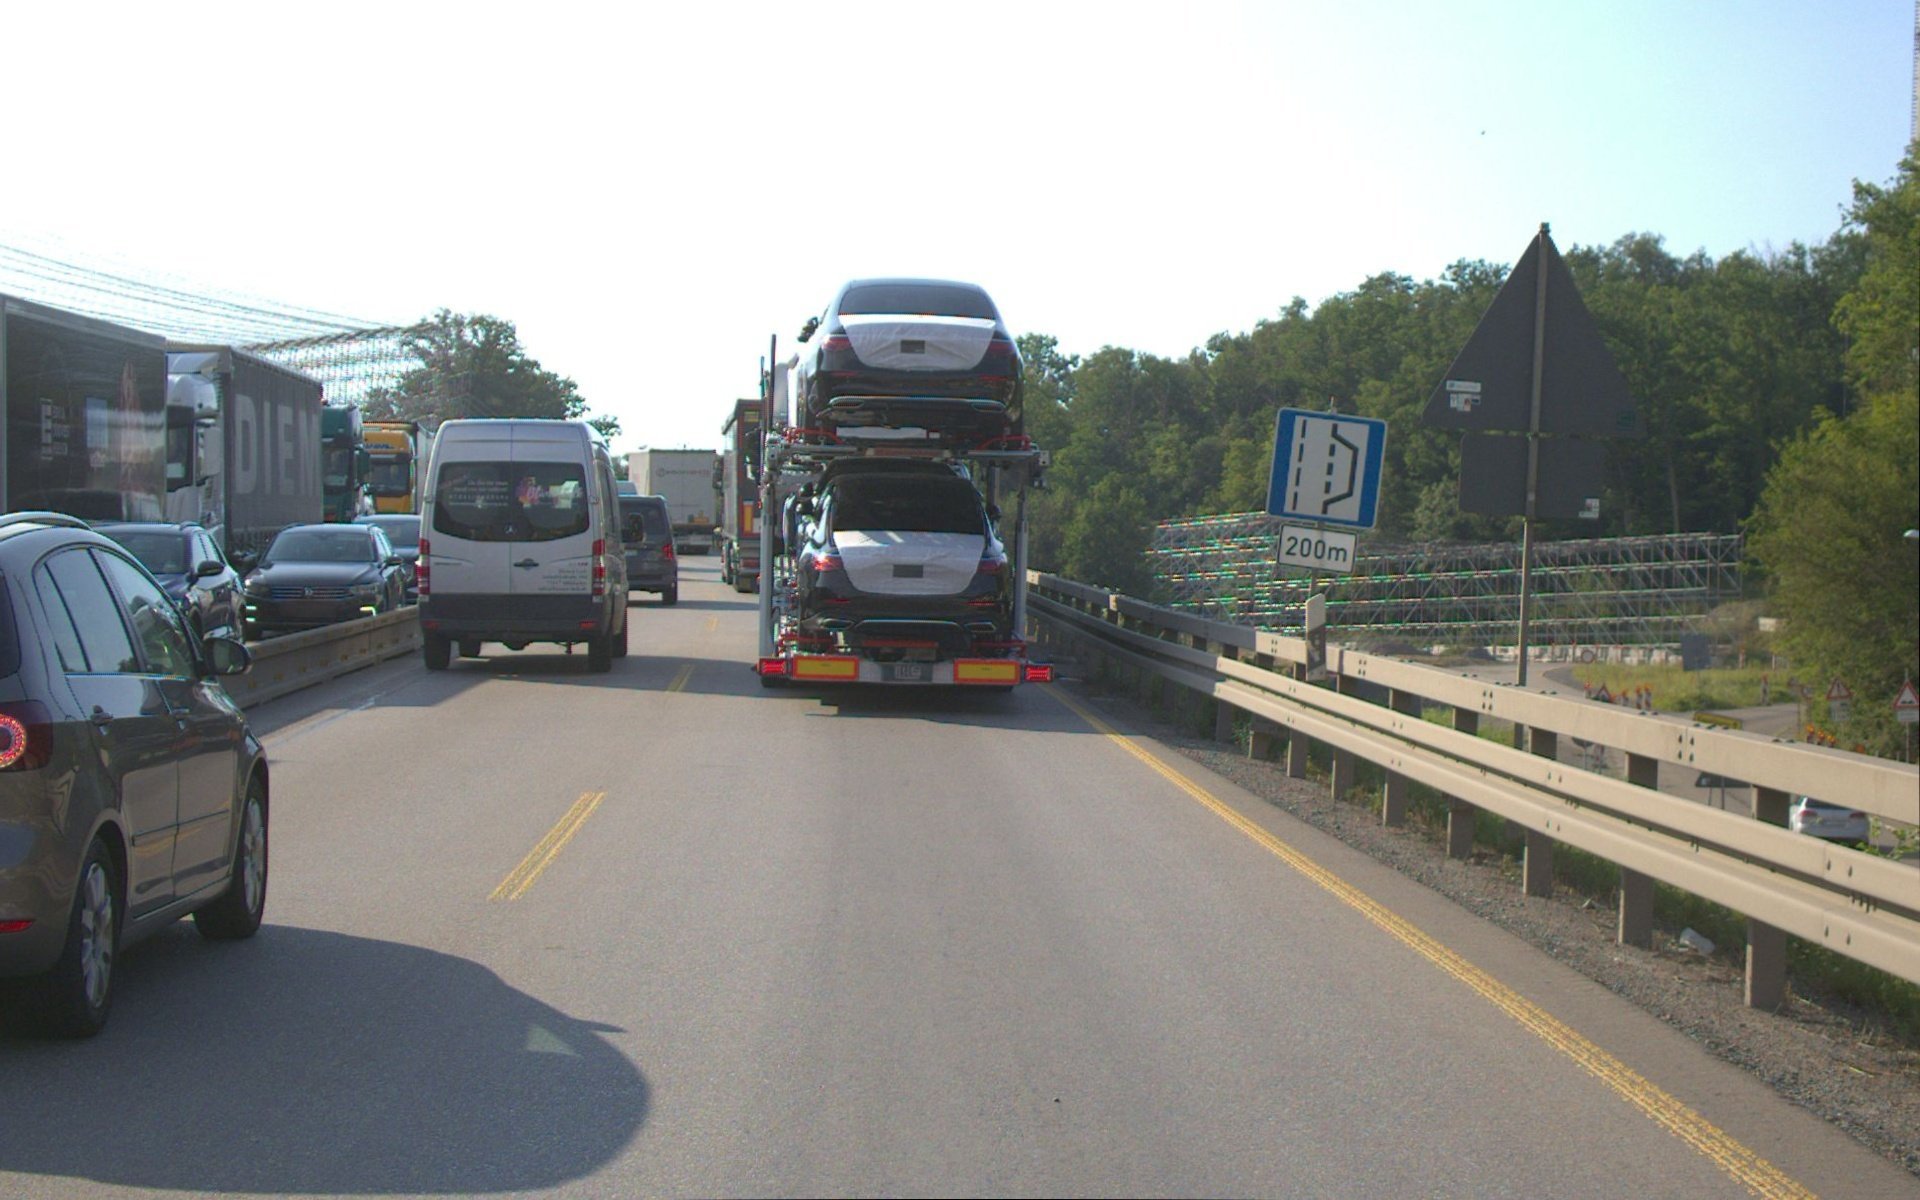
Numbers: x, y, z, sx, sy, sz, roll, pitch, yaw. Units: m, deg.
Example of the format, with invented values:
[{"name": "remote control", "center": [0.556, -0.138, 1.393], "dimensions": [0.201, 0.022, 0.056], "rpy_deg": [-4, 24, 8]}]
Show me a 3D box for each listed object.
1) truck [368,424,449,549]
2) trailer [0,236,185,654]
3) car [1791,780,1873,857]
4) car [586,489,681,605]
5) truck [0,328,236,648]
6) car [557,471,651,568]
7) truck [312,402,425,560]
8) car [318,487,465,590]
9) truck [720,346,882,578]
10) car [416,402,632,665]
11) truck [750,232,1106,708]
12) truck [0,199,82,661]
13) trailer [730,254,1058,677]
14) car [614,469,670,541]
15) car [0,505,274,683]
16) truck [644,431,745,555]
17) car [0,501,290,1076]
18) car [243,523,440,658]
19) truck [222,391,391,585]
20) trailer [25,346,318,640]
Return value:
[{"name": "truck", "center": [-18.965, -3.862, 118.349], "dimensions": [2.693, 4.182, 4.399], "rpy_deg": [0, 1, -8]}, {"name": "trailer", "center": [-11.193, -1.730, 40.281], "dimensions": [2.911, 4.450, 7.153], "rpy_deg": [1, 1, -3]}, {"name": "car", "center": [20.230, 5.054, 79.857], "dimensions": [1.526, 1.456, 4.266], "rpy_deg": [0, 1, 10]}, {"name": "car", "center": [-5.996, -0.963, 63.423], "dimensions": [1.528, 2.007, 4.001], "rpy_deg": [3, 0, -4]}, {"name": "truck", "center": [-11.591, -1.496, 46.876], "dimensions": [2.748, 4.101, 5.032], "rpy_deg": [-1, 1, -5]}, {"name": "car", "center": [-7.462, -1.664, 72.469], "dimensions": [1.832, 1.957, 4.900], "rpy_deg": [0, 0, -4]}, {"name": "truck", "center": [-15.925, -3.136, 92.851], "dimensions": [2.700, 4.126, 5.795], "rpy_deg": [0, 1, -7]}, {"name": "car", "center": [-9.395, -1.021, 57.169], "dimensions": [1.876, 1.600, 5.369], "rpy_deg": [-1, 1, -4]}, {"name": "truck", "center": [-3.584, -3.010, 75.552], "dimensions": [3.228, 4.660, 11.698], "rpy_deg": [1, 2, -4]}, {"name": "car", "center": [-4.644, -0.696, 37.110], "dimensions": [1.979, 2.675, 4.147], "rpy_deg": [0, 1, -3]}, {"name": "truck", "center": [-0.439, -1.115, 31.646], "dimensions": [2.869, 3.966, 5.772], "rpy_deg": [0, 1, -5]}, {"name": "truck", "center": [-10.892, -1.691, 34.784], "dimensions": [2.919, 4.499, 5.028], "rpy_deg": [1, 1, -3]}, {"name": "trailer", "center": [-1.126, -1.350, 40.047], "dimensions": [2.874, 3.980, 15.282], "rpy_deg": [0, 1, -5]}, {"name": "car", "center": [-9.503, -2.821, 102.895], "dimensions": [1.528, 2.007, 4.001], "rpy_deg": [3, 0, -4]}, {"name": "car", "center": [-7.818, -0.055, 32.839], "dimensions": [1.766, 1.545, 4.479], "rpy_deg": [2, 0, -2]}, {"name": "truck", "center": [-10.453, -4.268, 136.501], "dimensions": [3.648, 4.660, 11.697], "rpy_deg": [1, 2, -3]}, {"name": "car", "center": [-3.418, 0.494, 11.488], "dimensions": [1.700, 1.581, 4.147], "rpy_deg": [0, 1, -2]}, {"name": "car", "center": [-8.129, -0.119, 45.574], "dimensions": [1.862, 1.581, 4.746], "rpy_deg": [4, 0, -2]}, {"name": "truck", "center": [-13.510, -2.292, 71.516], "dimensions": [2.748, 3.792, 7.113], "rpy_deg": [-1, 1, -5]}, {"name": "trailer", "center": [-12.266, -1.637, 54.660], "dimensions": [2.714, 4.108, 12.495], "rpy_deg": [-1, 1, -5]}]
